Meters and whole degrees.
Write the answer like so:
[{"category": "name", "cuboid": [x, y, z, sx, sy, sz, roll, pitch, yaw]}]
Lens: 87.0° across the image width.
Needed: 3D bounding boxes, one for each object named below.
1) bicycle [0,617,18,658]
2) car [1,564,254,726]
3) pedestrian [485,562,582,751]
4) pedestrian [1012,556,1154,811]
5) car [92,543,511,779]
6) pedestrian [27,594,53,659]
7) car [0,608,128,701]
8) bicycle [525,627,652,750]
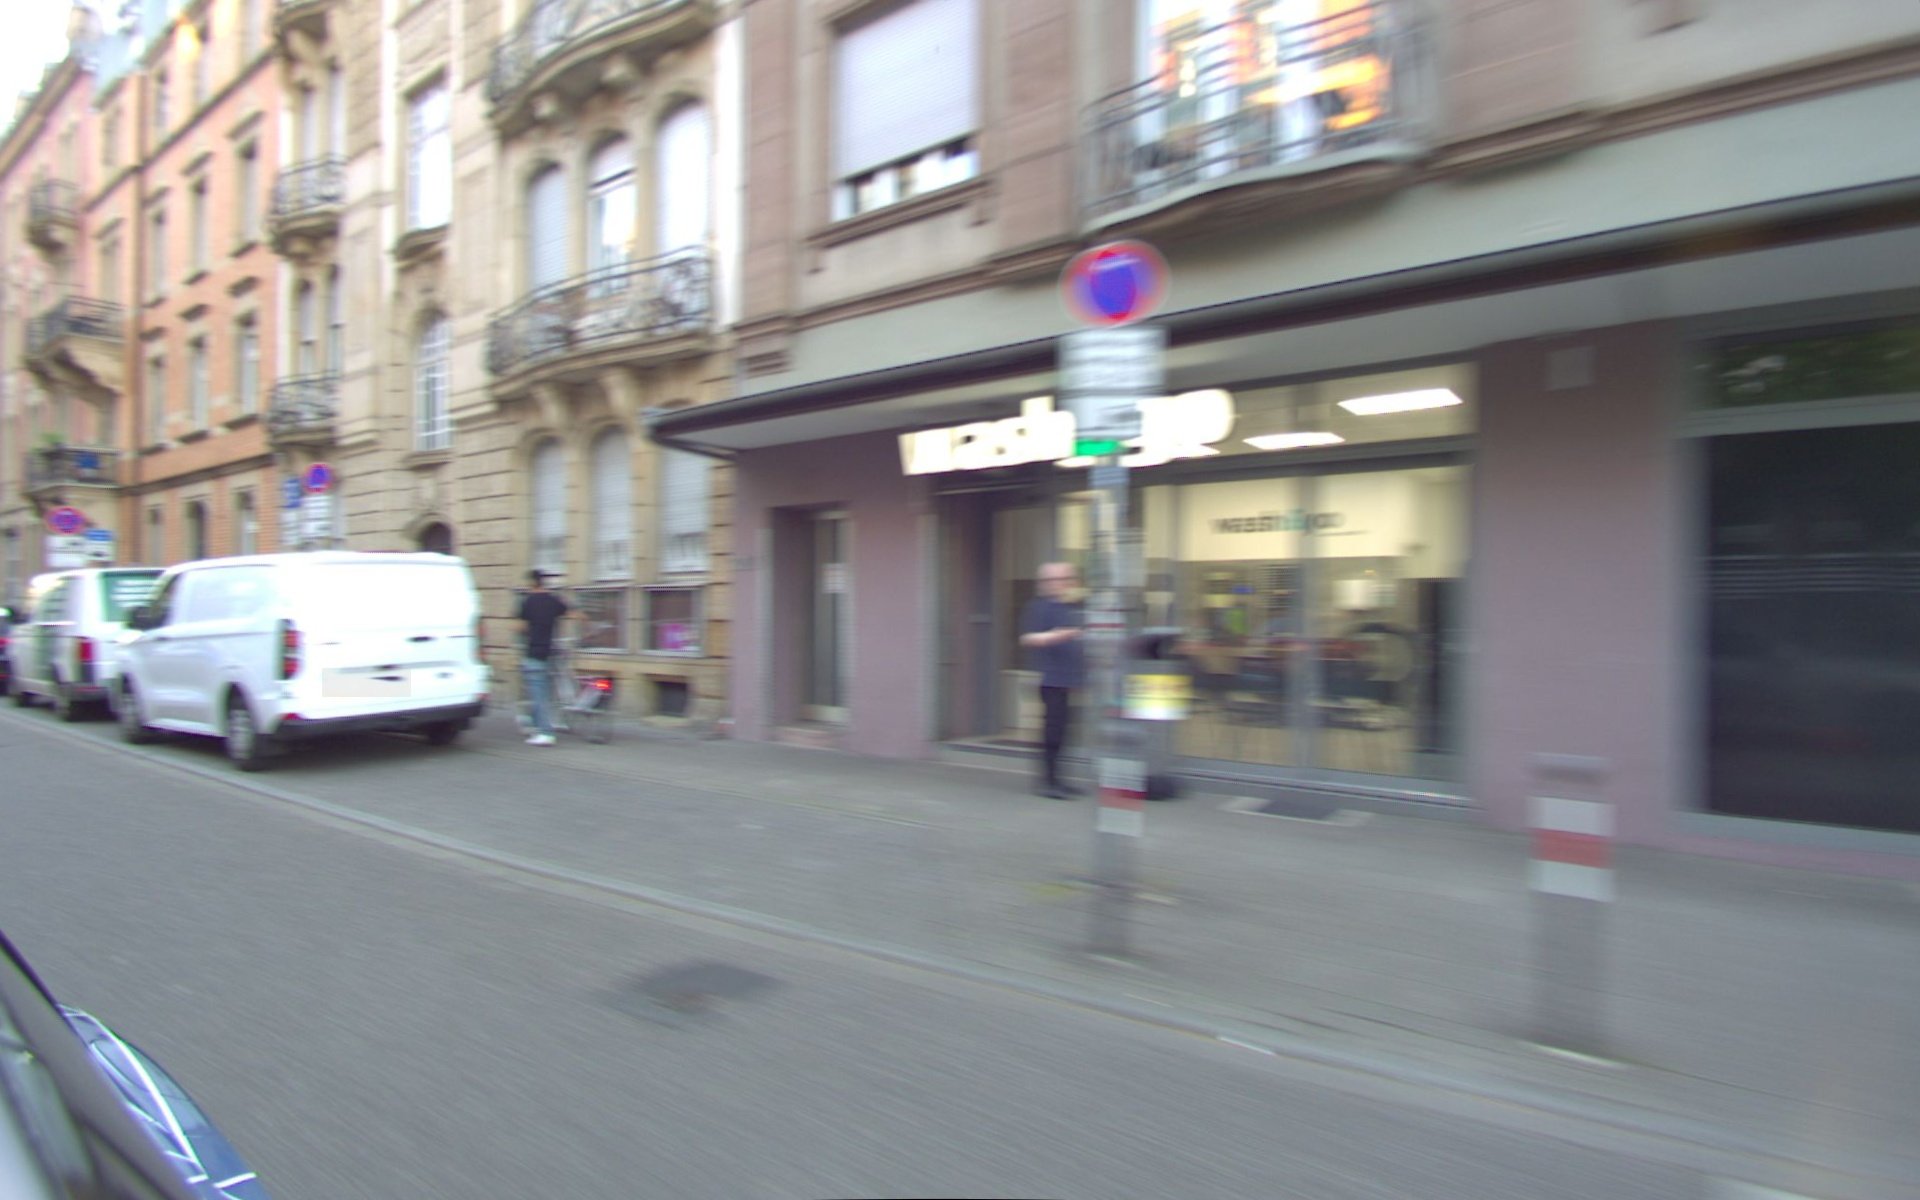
[{"category": "bicycle", "cuboid": [-29.051, 1.118, 30.720, 1.836, 1.168, 0.407, 0, 1, 39]}, {"category": "car", "cuboid": [-11.891, 0.556, 14.335, 4.839, 1.936, 1.819, 0, -1, 39]}, {"category": "pedestrian", "cuboid": [-4.372, 0.542, 10.368, 0.996, 1.837, 0.531, 0, 1, 41]}, {"category": "pedestrian", "cuboid": [0.877, 0.554, 7.214, 0.735, 1.690, 0.702, -1, 0, 38]}, {"category": "car", "cuboid": [-7.070, 0.522, 10.666, 5.016, 1.936, 2.090, 0, -1, 36]}, {"category": "pedestrian", "cuboid": [-25.952, 0.737, 28.549, 0.641, 1.803, 0.458, 0, 1, 41]}, {"category": "car", "cuboid": [-16.472, 0.876, 17.820, 4.164, 1.482, 1.820, 0, -1, 36]}, {"category": "bicycle", "cuboid": [-3.958, 0.894, 10.720, 1.784, 1.151, 0.466, 0, 1, 41]}]
